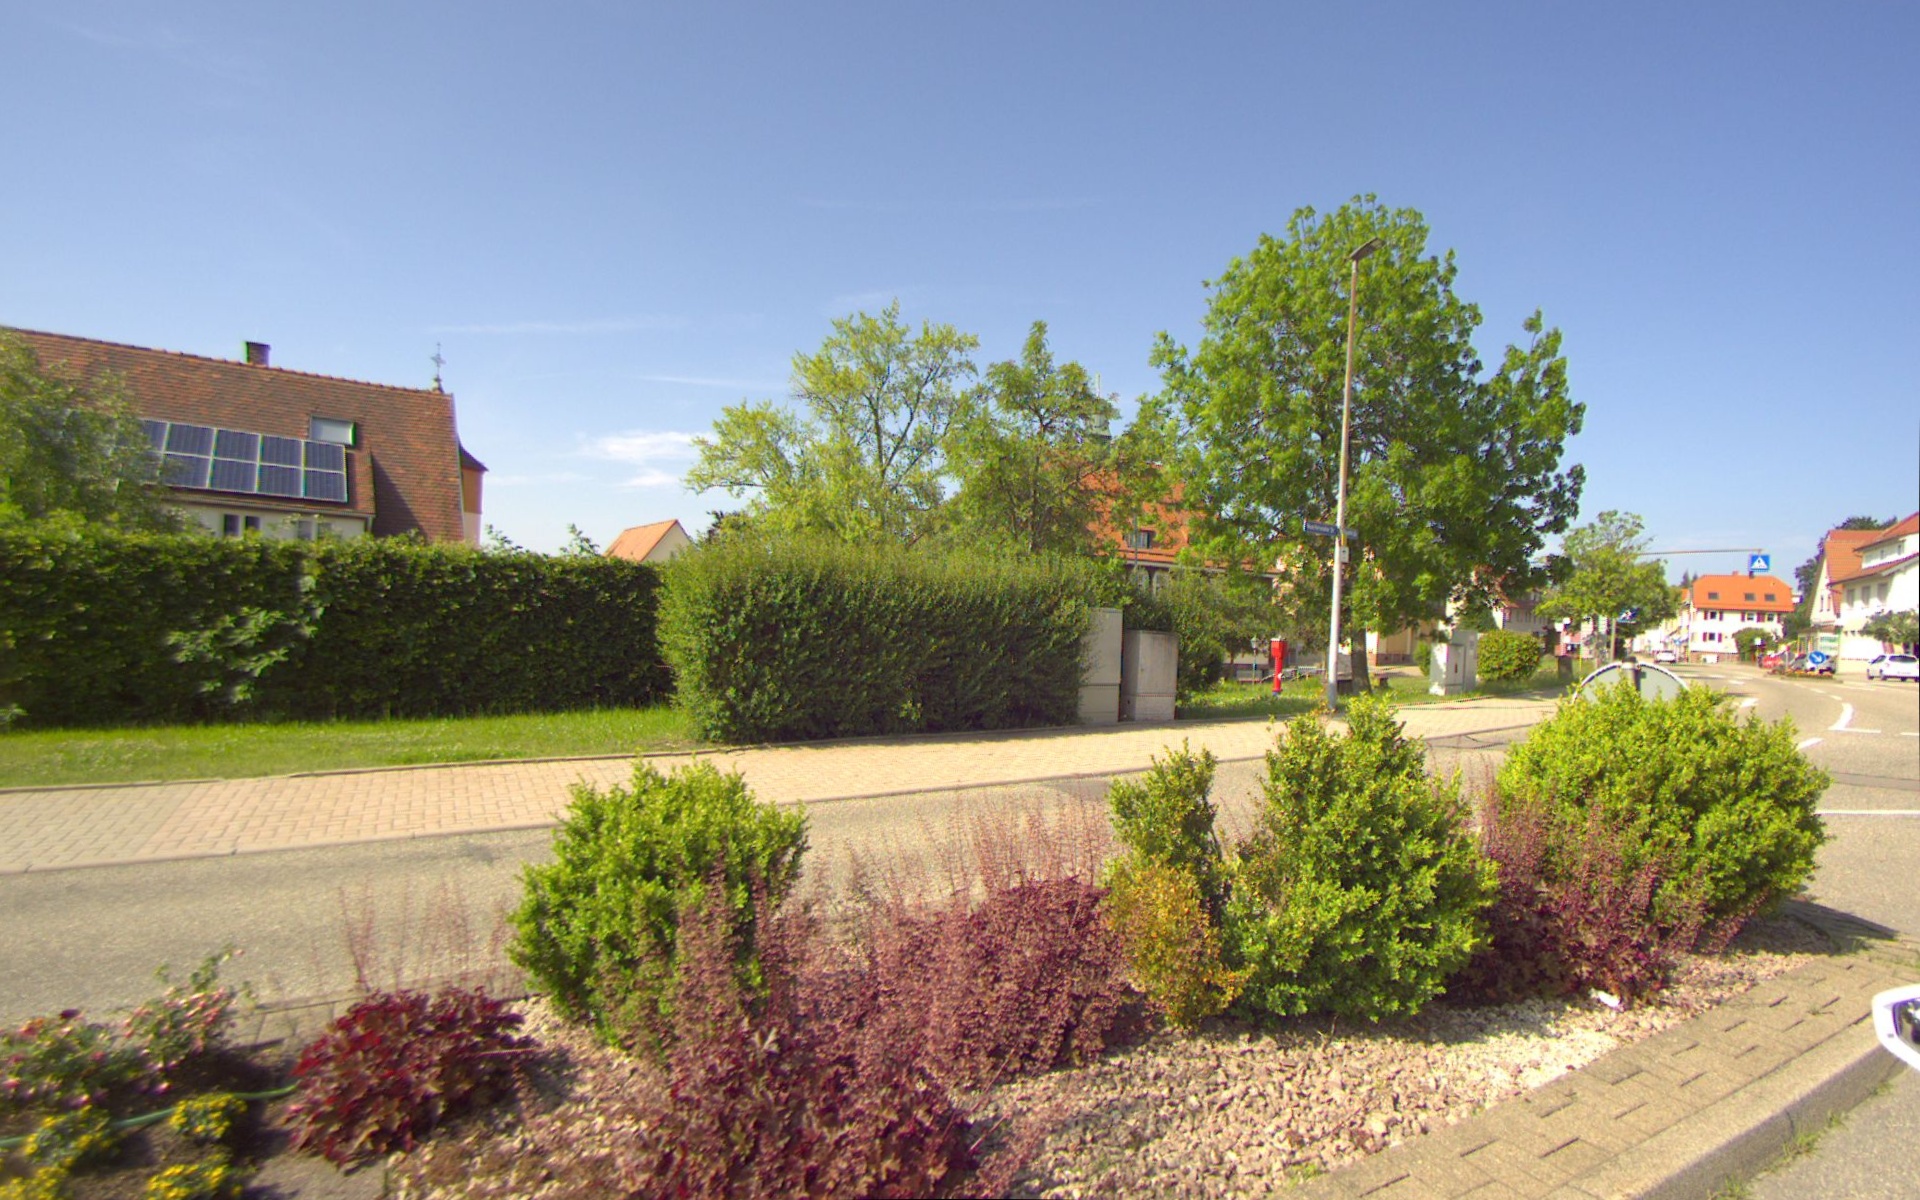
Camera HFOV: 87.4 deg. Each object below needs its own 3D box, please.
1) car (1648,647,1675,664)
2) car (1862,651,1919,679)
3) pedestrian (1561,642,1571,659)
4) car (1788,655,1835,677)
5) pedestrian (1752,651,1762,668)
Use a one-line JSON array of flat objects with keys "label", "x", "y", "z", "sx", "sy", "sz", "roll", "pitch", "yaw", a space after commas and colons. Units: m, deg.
[{"label": "car", "x": 89.665, "y": 7.076, "z": 128.387, "sx": 2.459, "sy": 2.040, "sz": 4.297, "roll": -1, "pitch": -3, "yaw": 30}, {"label": "car", "x": 50.872, "y": 3.543, "z": 54.918, "sx": 1.736, "sy": 1.442, "sz": 3.625, "roll": -1, "pitch": -3, "yaw": 33}, {"label": "pedestrian", "x": 44.977, "y": 3.759, "z": 74.582, "sx": 0.619, "sy": 1.269, "sz": 0.423, "roll": -1, "pitch": -3, "yaw": 28}, {"label": "car", "x": 60.074, "y": 4.645, "z": 70.938, "sx": 1.610, "sy": 1.438, "sz": 3.931, "roll": -1, "pitch": -3, "yaw": 27}, {"label": "pedestrian", "x": 84.731, "y": 6.346, "z": 106.755, "sx": 0.789, "sy": 1.808, "sz": 0.976, "roll": 0, "pitch": -2, "yaw": 35}]
